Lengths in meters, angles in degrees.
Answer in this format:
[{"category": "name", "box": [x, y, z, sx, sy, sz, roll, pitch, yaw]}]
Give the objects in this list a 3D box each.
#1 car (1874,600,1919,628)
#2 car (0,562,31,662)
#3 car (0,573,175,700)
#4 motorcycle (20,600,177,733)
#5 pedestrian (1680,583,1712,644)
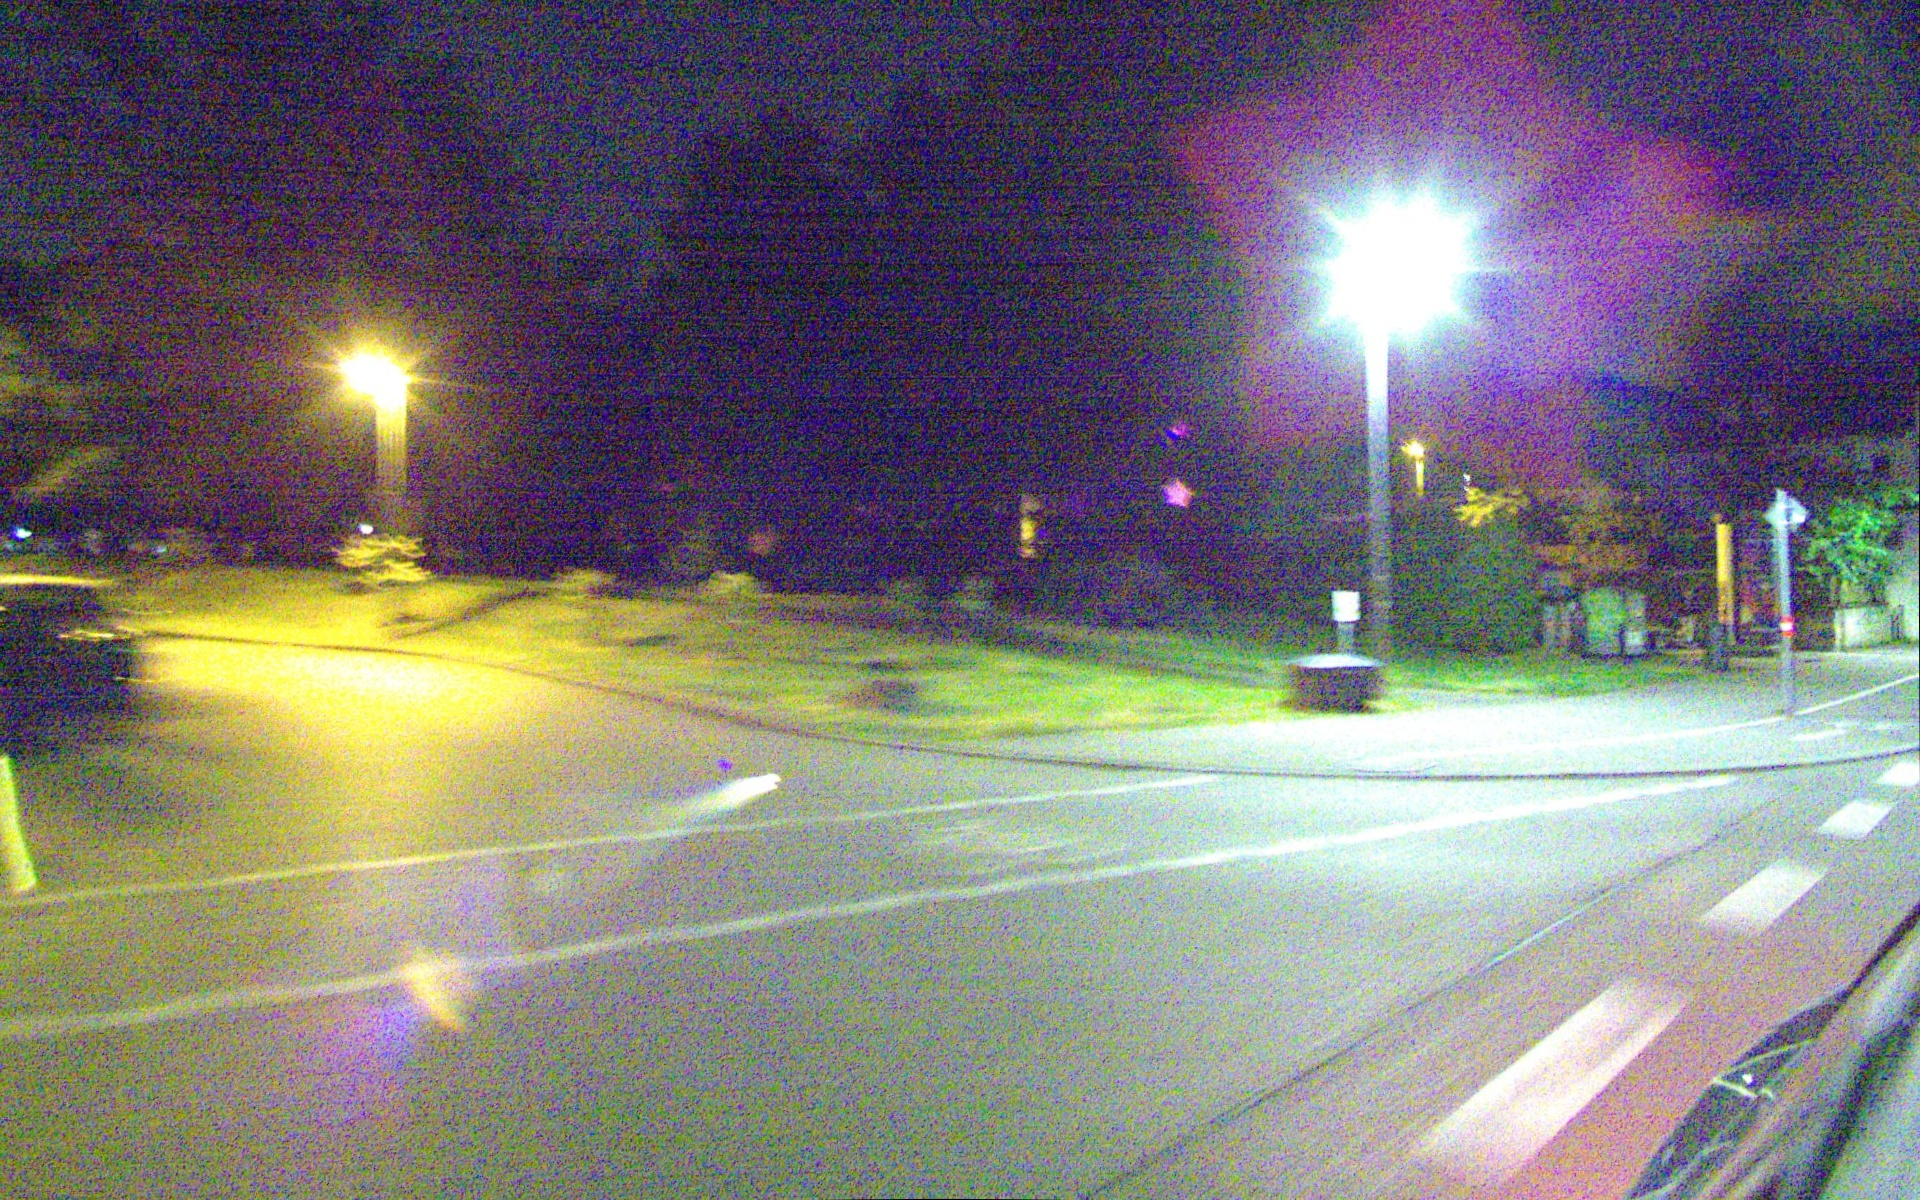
[{"category": "car", "box": [52.889, 0.772, 55.585, 1.699, 1.492, 3.721, 0, 0, -37]}, {"category": "car", "box": [-16.885, 0.135, 16.340, 3.996, 1.567, 1.596, 2, 1, 29]}, {"category": "car", "box": [-12.508, 0.403, 13.792, 3.607, 1.498, 1.841, 2, 1, 34]}, {"category": "motorcycle", "box": [-9.166, 0.645, 10.734, 2.251, 1.229, 0.702, 2, 0, 35]}, {"category": "pedestrian", "box": [24.207, 0.444, 33.297, 0.759, 1.961, 0.647, 1, 1, -40]}]
